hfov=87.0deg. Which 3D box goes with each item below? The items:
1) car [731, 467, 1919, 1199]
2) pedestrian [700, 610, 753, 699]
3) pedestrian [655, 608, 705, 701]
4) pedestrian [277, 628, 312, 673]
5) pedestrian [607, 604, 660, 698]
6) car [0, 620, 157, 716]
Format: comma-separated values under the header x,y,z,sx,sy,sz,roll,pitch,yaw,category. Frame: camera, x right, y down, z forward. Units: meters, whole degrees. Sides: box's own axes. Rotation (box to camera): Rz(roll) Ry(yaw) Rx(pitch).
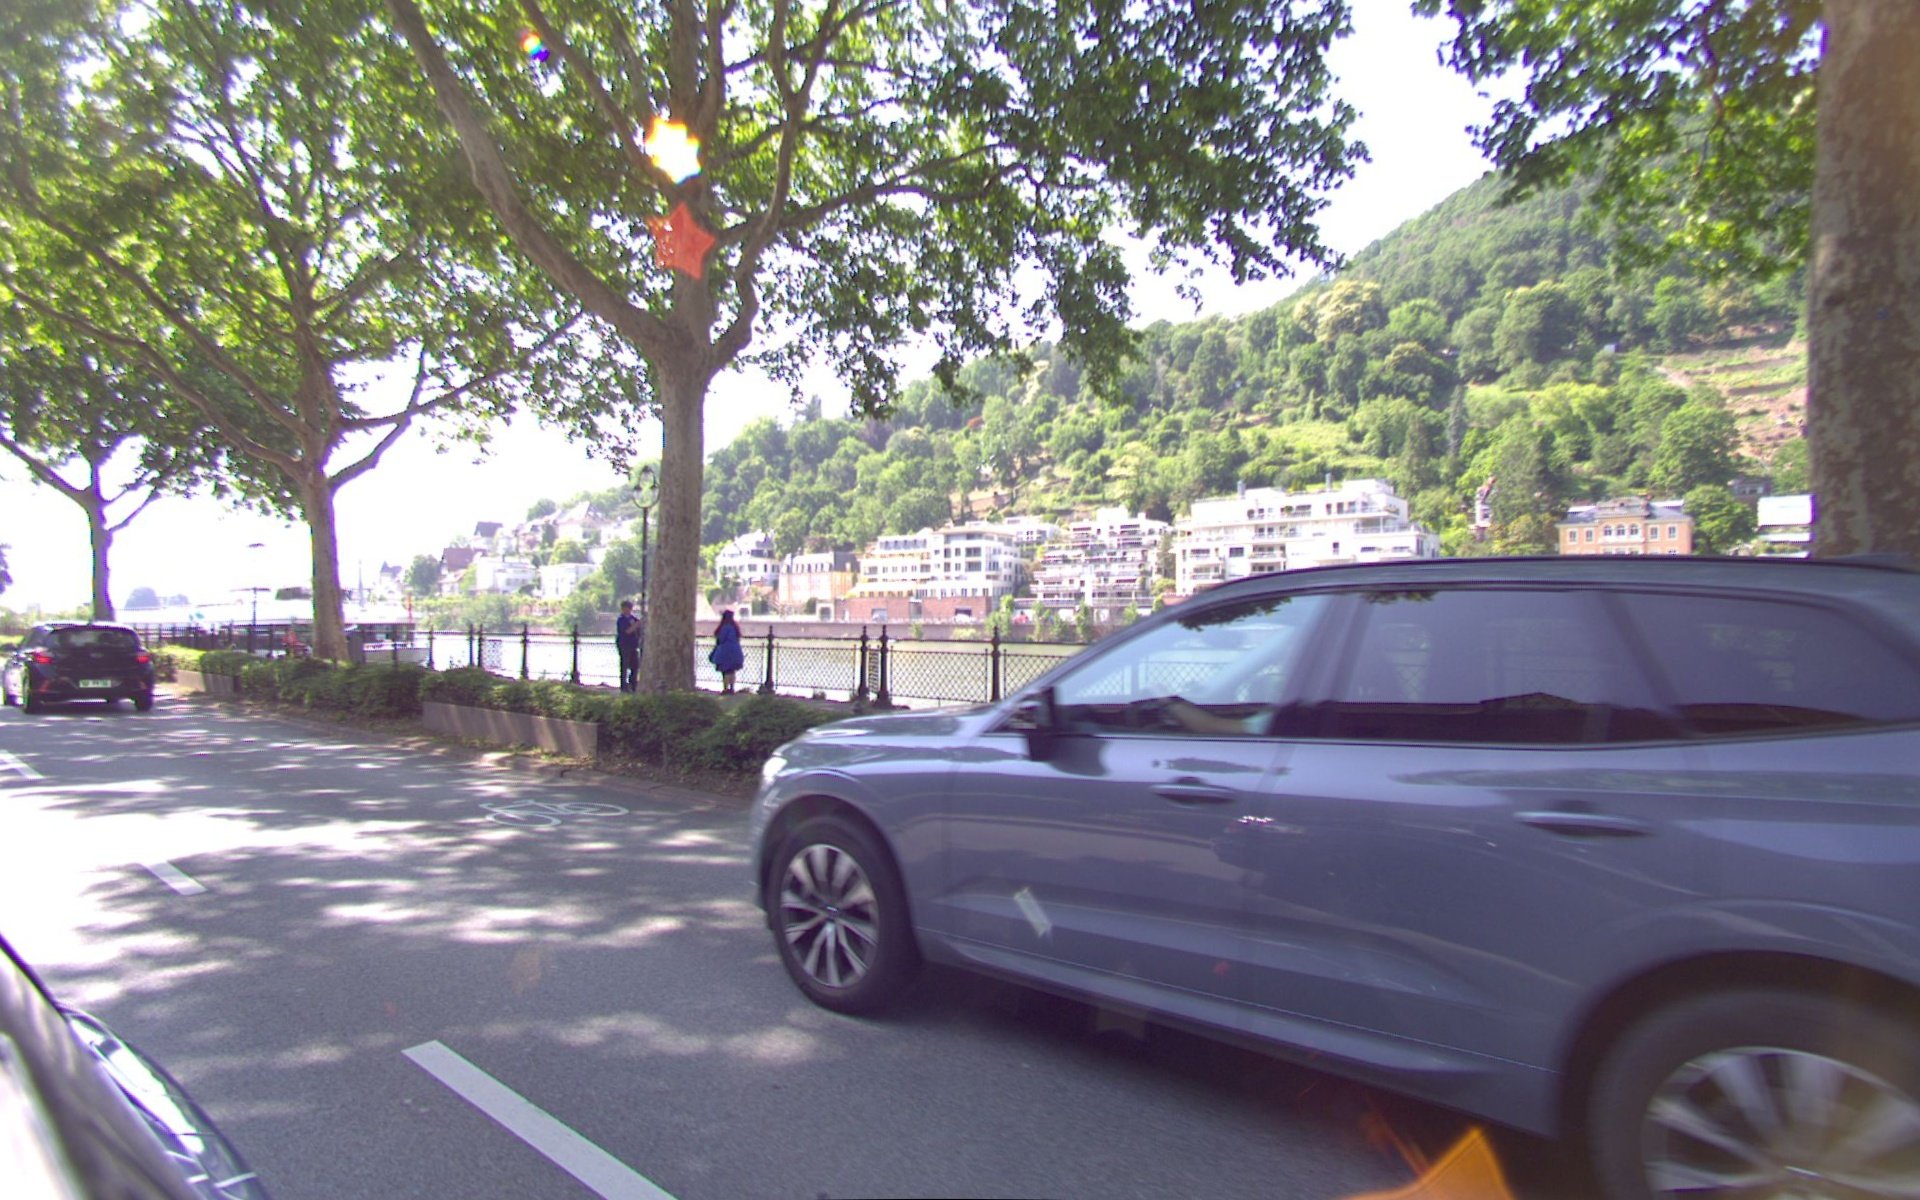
x,y,z,sx,sy,sz,roll,pitch,yaw,category
1.331,0.674,3.327,4.255,1.711,1.858,-1,-3,40,car
-4.382,1.007,19.012,0.705,1.615,0.696,-1,-2,43,pedestrian
-5.624,1.073,20.327,0.705,1.810,0.696,-1,-2,43,pedestrian
-19.980,1.510,30.390,0.656,1.318,0.695,-1,-3,42,pedestrian
-6.210,0.953,19.252,0.705,1.744,0.696,-1,-2,43,pedestrian
-15.305,1.102,17.388,3.777,1.480,1.632,-1,-3,40,car
